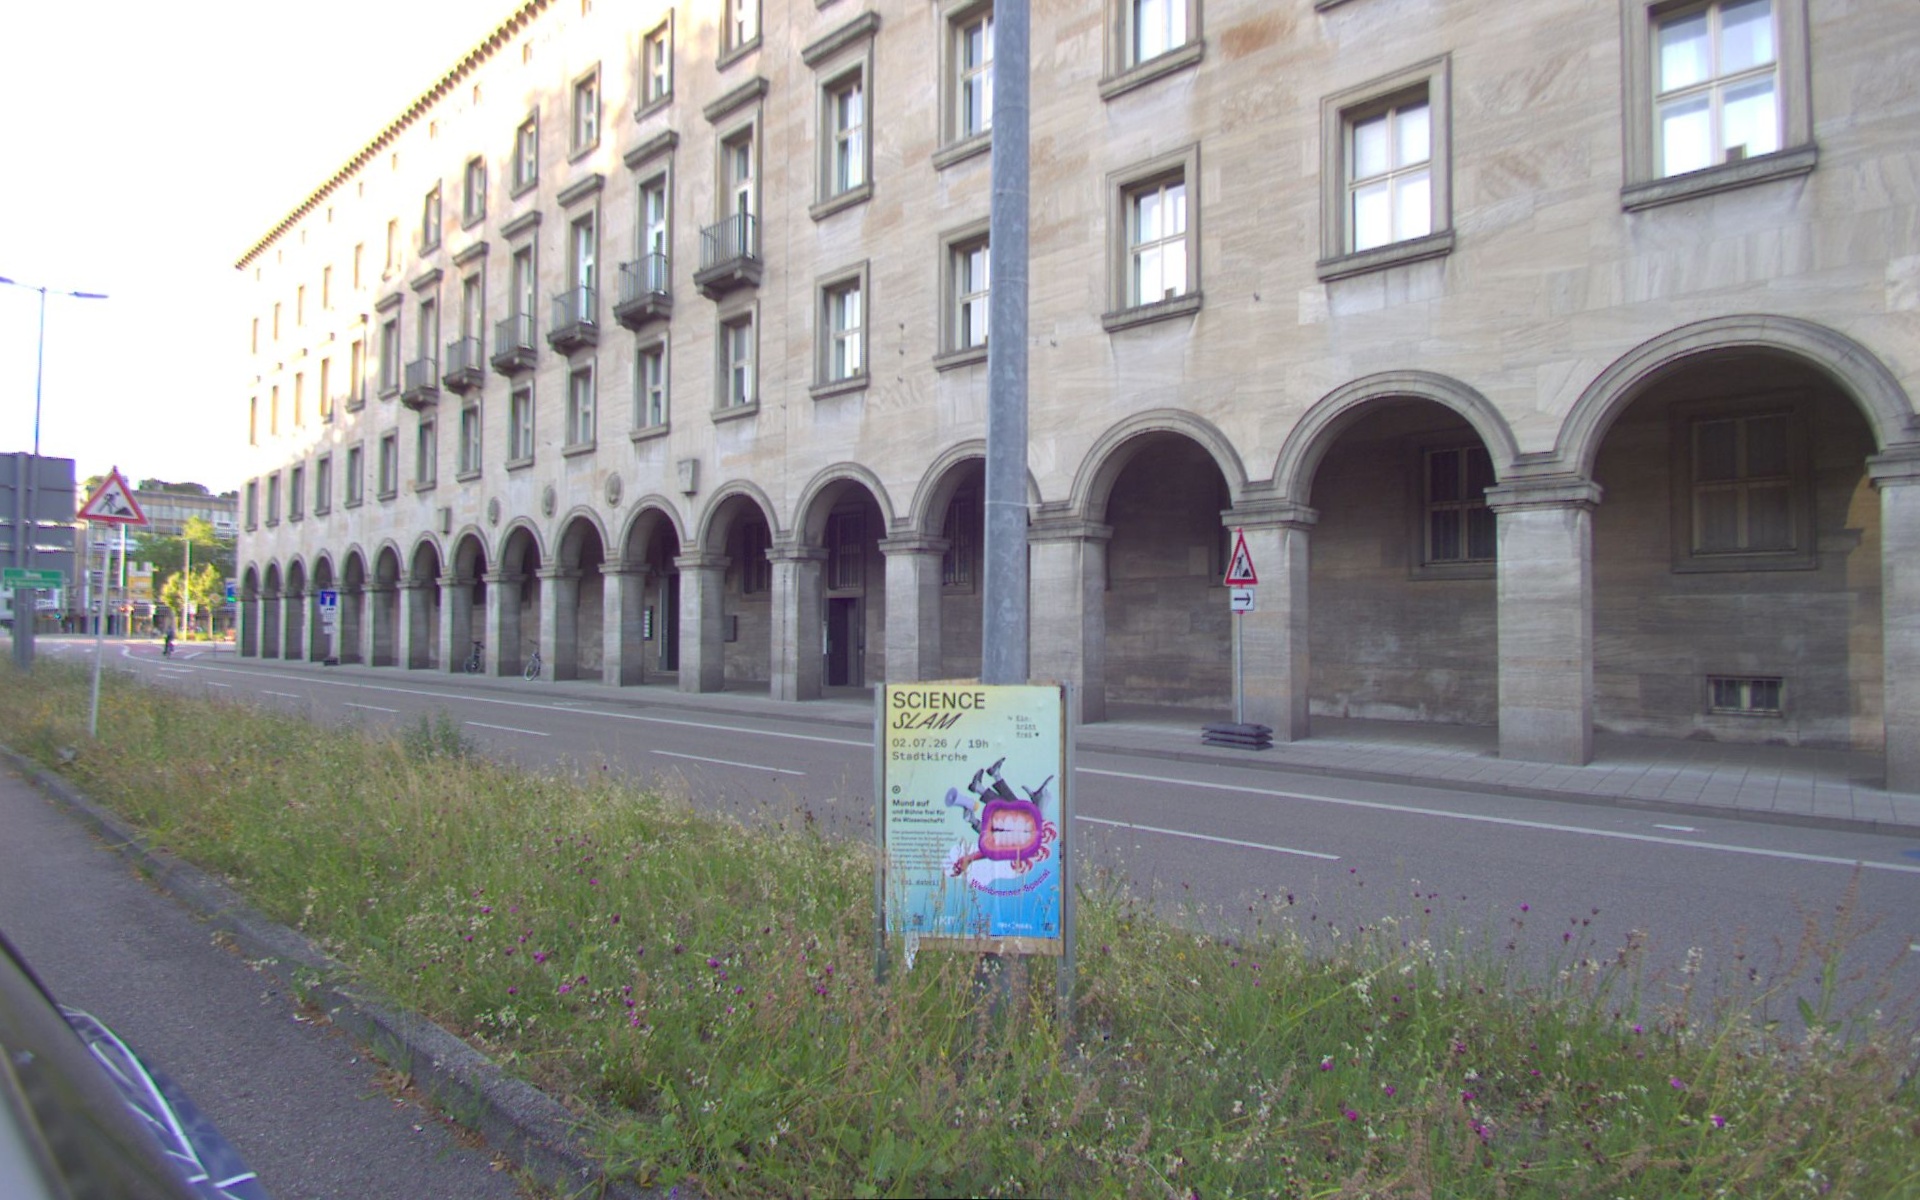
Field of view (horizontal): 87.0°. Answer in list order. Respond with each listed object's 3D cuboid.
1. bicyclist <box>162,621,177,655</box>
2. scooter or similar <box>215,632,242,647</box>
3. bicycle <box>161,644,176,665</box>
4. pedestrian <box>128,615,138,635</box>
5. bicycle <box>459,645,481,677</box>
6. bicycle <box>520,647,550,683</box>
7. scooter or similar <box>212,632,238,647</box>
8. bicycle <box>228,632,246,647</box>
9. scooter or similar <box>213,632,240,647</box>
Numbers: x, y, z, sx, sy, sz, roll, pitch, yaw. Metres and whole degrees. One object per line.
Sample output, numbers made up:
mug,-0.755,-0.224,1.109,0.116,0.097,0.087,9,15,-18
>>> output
bicyclist,-39.857,1.905,51.050,0.529,1.706,0.750,2,-3,-36
scooter or similar,-63.854,3.466,88.348,0.422,1.315,1.819,-1,-2,35
bicycle,-39.720,2.735,50.805,0.534,1.013,2.009,2,-3,-36
pedestrian,-83.785,2.540,102.558,0.647,1.948,0.652,-3,-4,42
bicycle,-16.243,1.995,33.527,0.470,1.013,2.011,1,-2,-30
bicycle,-12.603,1.922,30.037,0.471,1.013,2.010,1,-2,-13
scooter or similar,-64.591,3.493,88.907,0.416,1.315,1.772,-1,-2,35
bicycle,-62.243,3.397,87.155,2.507,1.334,0.611,-1,-3,40
scooter or similar,-64.208,3.479,88.611,0.422,1.315,1.814,-1,-2,35
